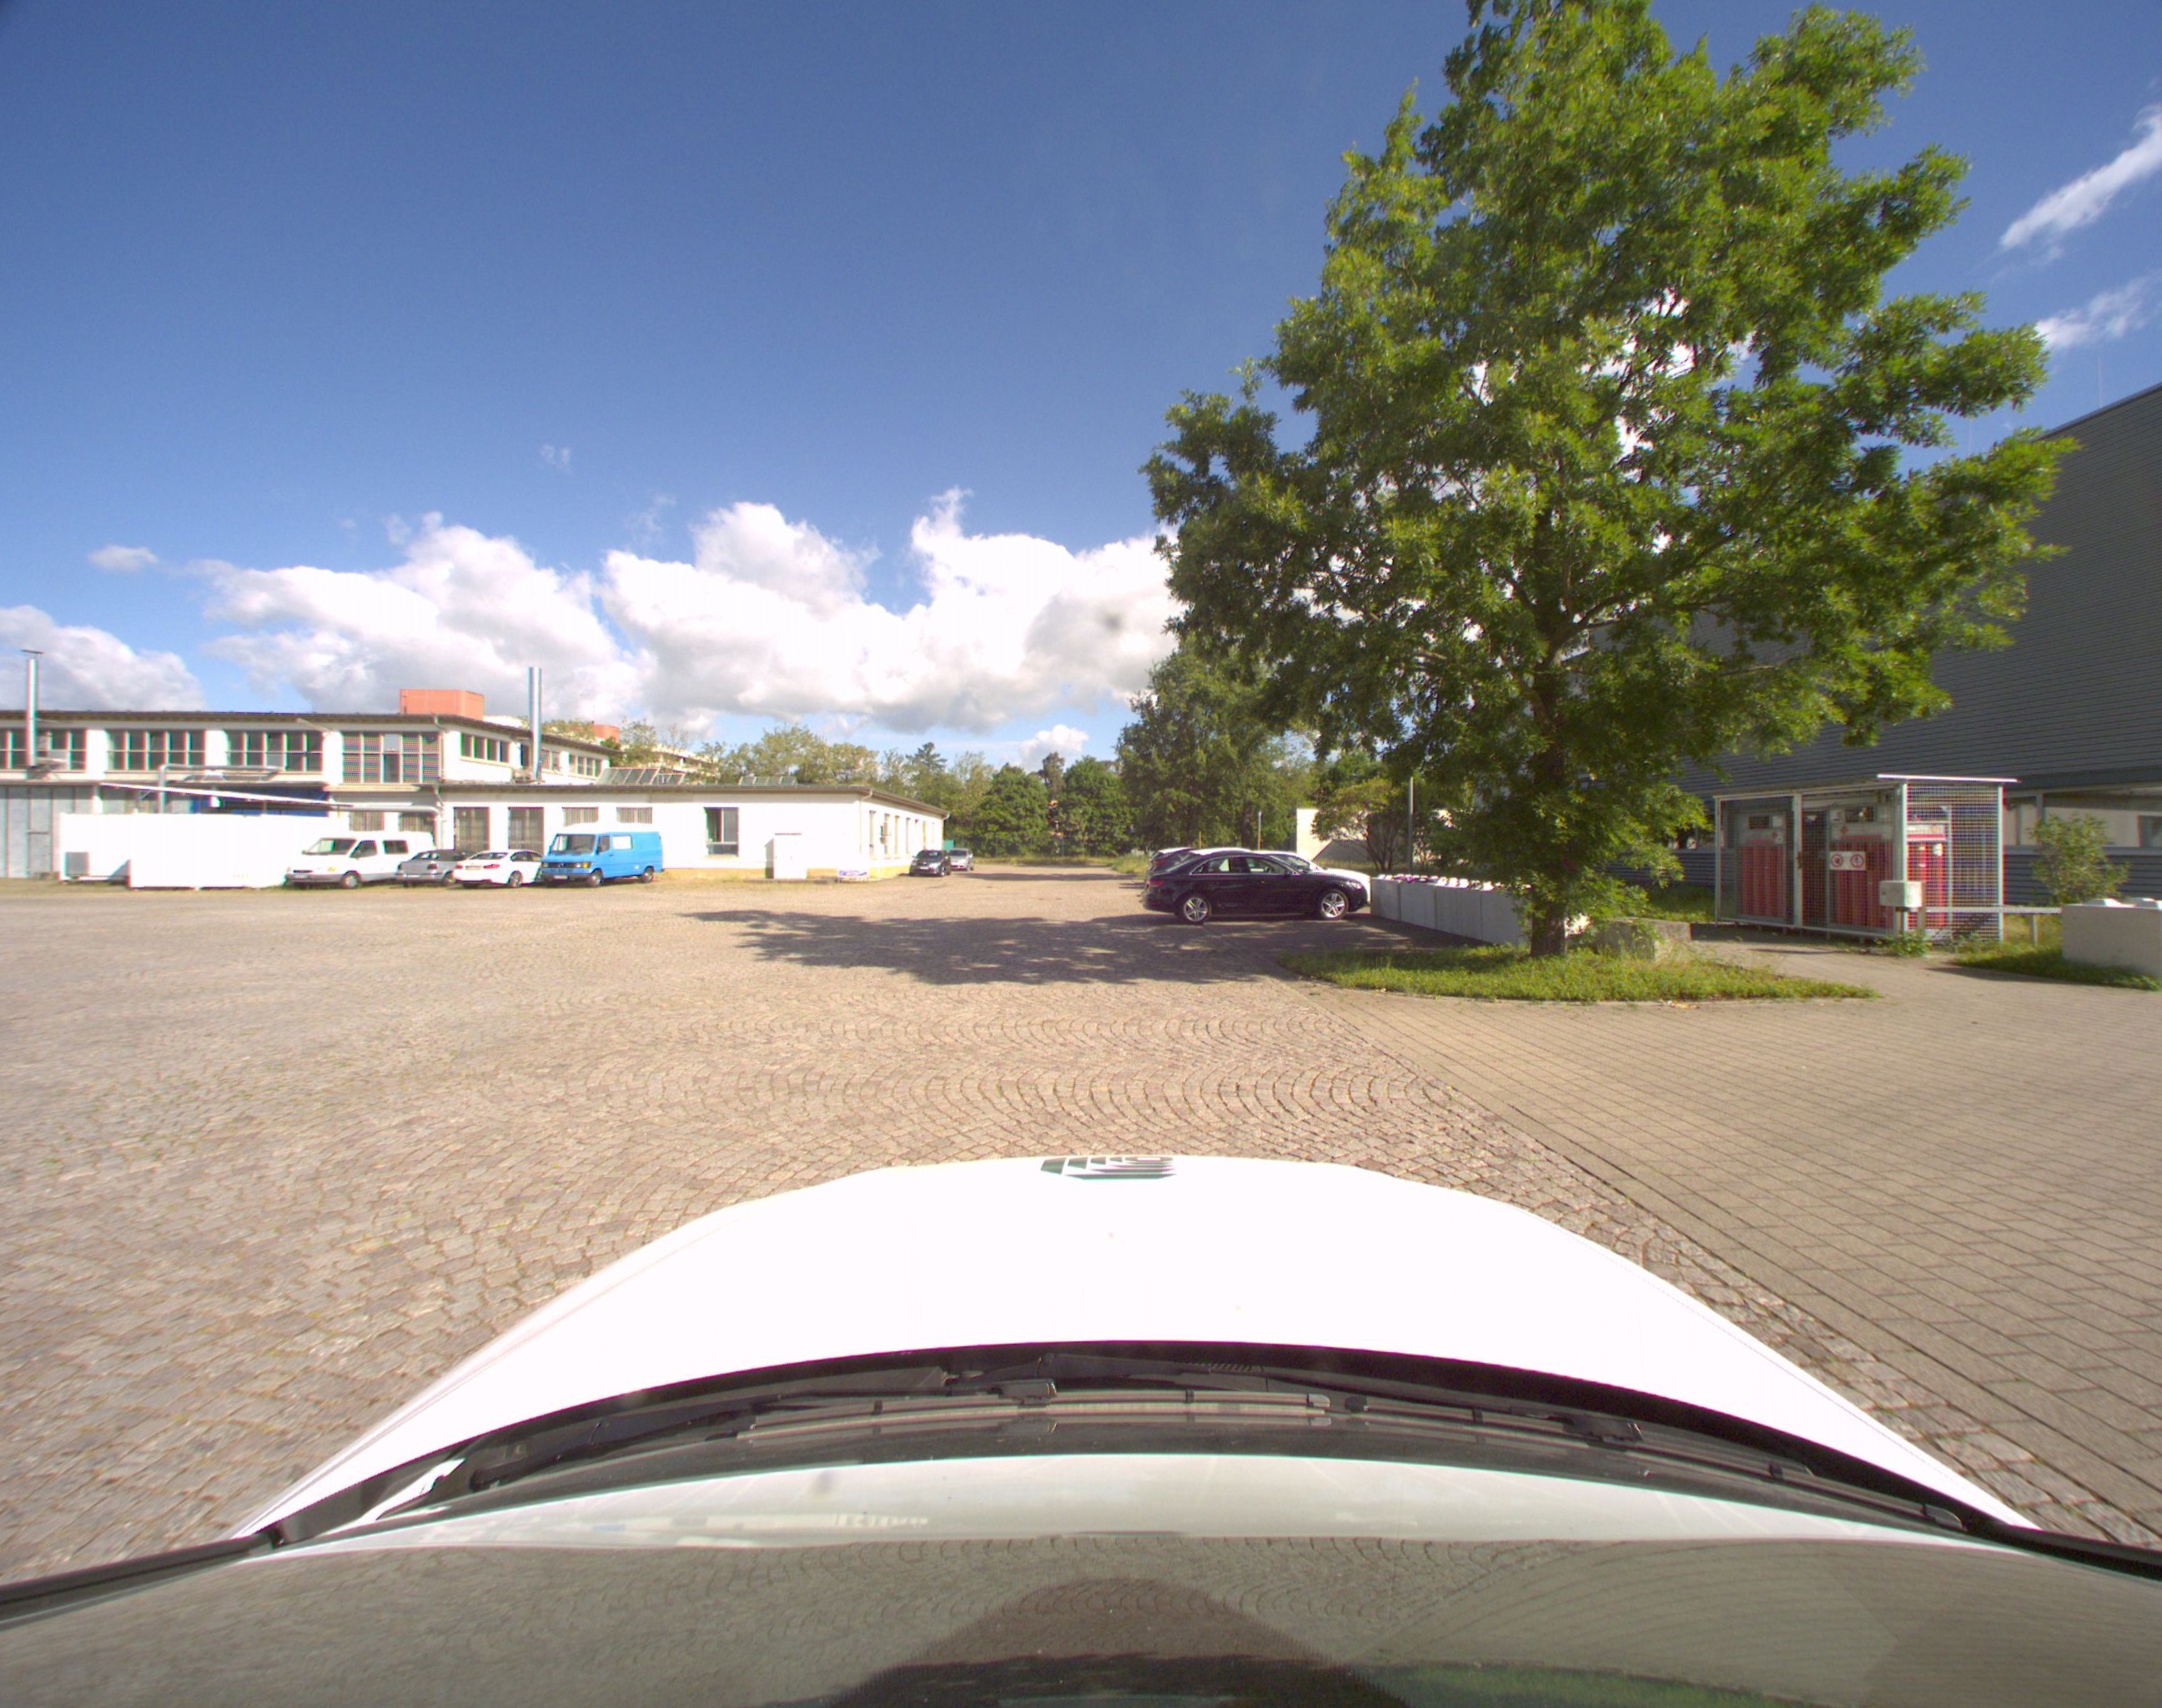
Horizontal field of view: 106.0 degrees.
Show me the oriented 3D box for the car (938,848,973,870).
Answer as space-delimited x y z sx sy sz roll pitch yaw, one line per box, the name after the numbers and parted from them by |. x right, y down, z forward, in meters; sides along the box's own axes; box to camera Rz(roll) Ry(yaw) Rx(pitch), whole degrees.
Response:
-8.215 0.307 53.579 1.681 1.435 3.987 1 0 0 | car

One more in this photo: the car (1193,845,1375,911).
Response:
4.893 0.564 20.057 4.119 1.460 1.693 -2 0 4 | car

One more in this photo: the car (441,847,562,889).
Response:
-21.626 0.480 30.604 1.725 1.405 3.741 0 2 2 | car

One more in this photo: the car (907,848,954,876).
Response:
-8.054 0.394 44.000 1.758 1.435 3.992 1 0 0 | car

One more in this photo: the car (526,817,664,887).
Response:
-18.811 -0.083 31.894 2.074 2.483 5.242 0 0 3 | car

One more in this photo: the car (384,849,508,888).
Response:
-24.419 0.505 31.507 1.680 1.398 3.834 1 0 2 | car

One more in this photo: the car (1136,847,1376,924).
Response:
3.601 0.624 17.303 4.706 1.423 1.756 -2 0 -2 | car

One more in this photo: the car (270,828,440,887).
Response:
-27.330 0.113 30.947 1.995 2.081 4.808 0 0 3 | car

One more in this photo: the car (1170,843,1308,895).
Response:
4.803 0.439 25.098 3.899 1.446 1.755 -2 0 0 | car

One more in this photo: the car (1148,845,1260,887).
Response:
4.515 0.433 30.260 3.899 1.417 1.692 -2 0 0 | car

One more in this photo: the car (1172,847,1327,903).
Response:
4.579 0.554 22.511 3.899 1.372 1.728 -2 0 0 | car

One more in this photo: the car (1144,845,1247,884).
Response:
4.560 0.395 32.913 3.899 1.435 1.796 -2 0 0 | car
